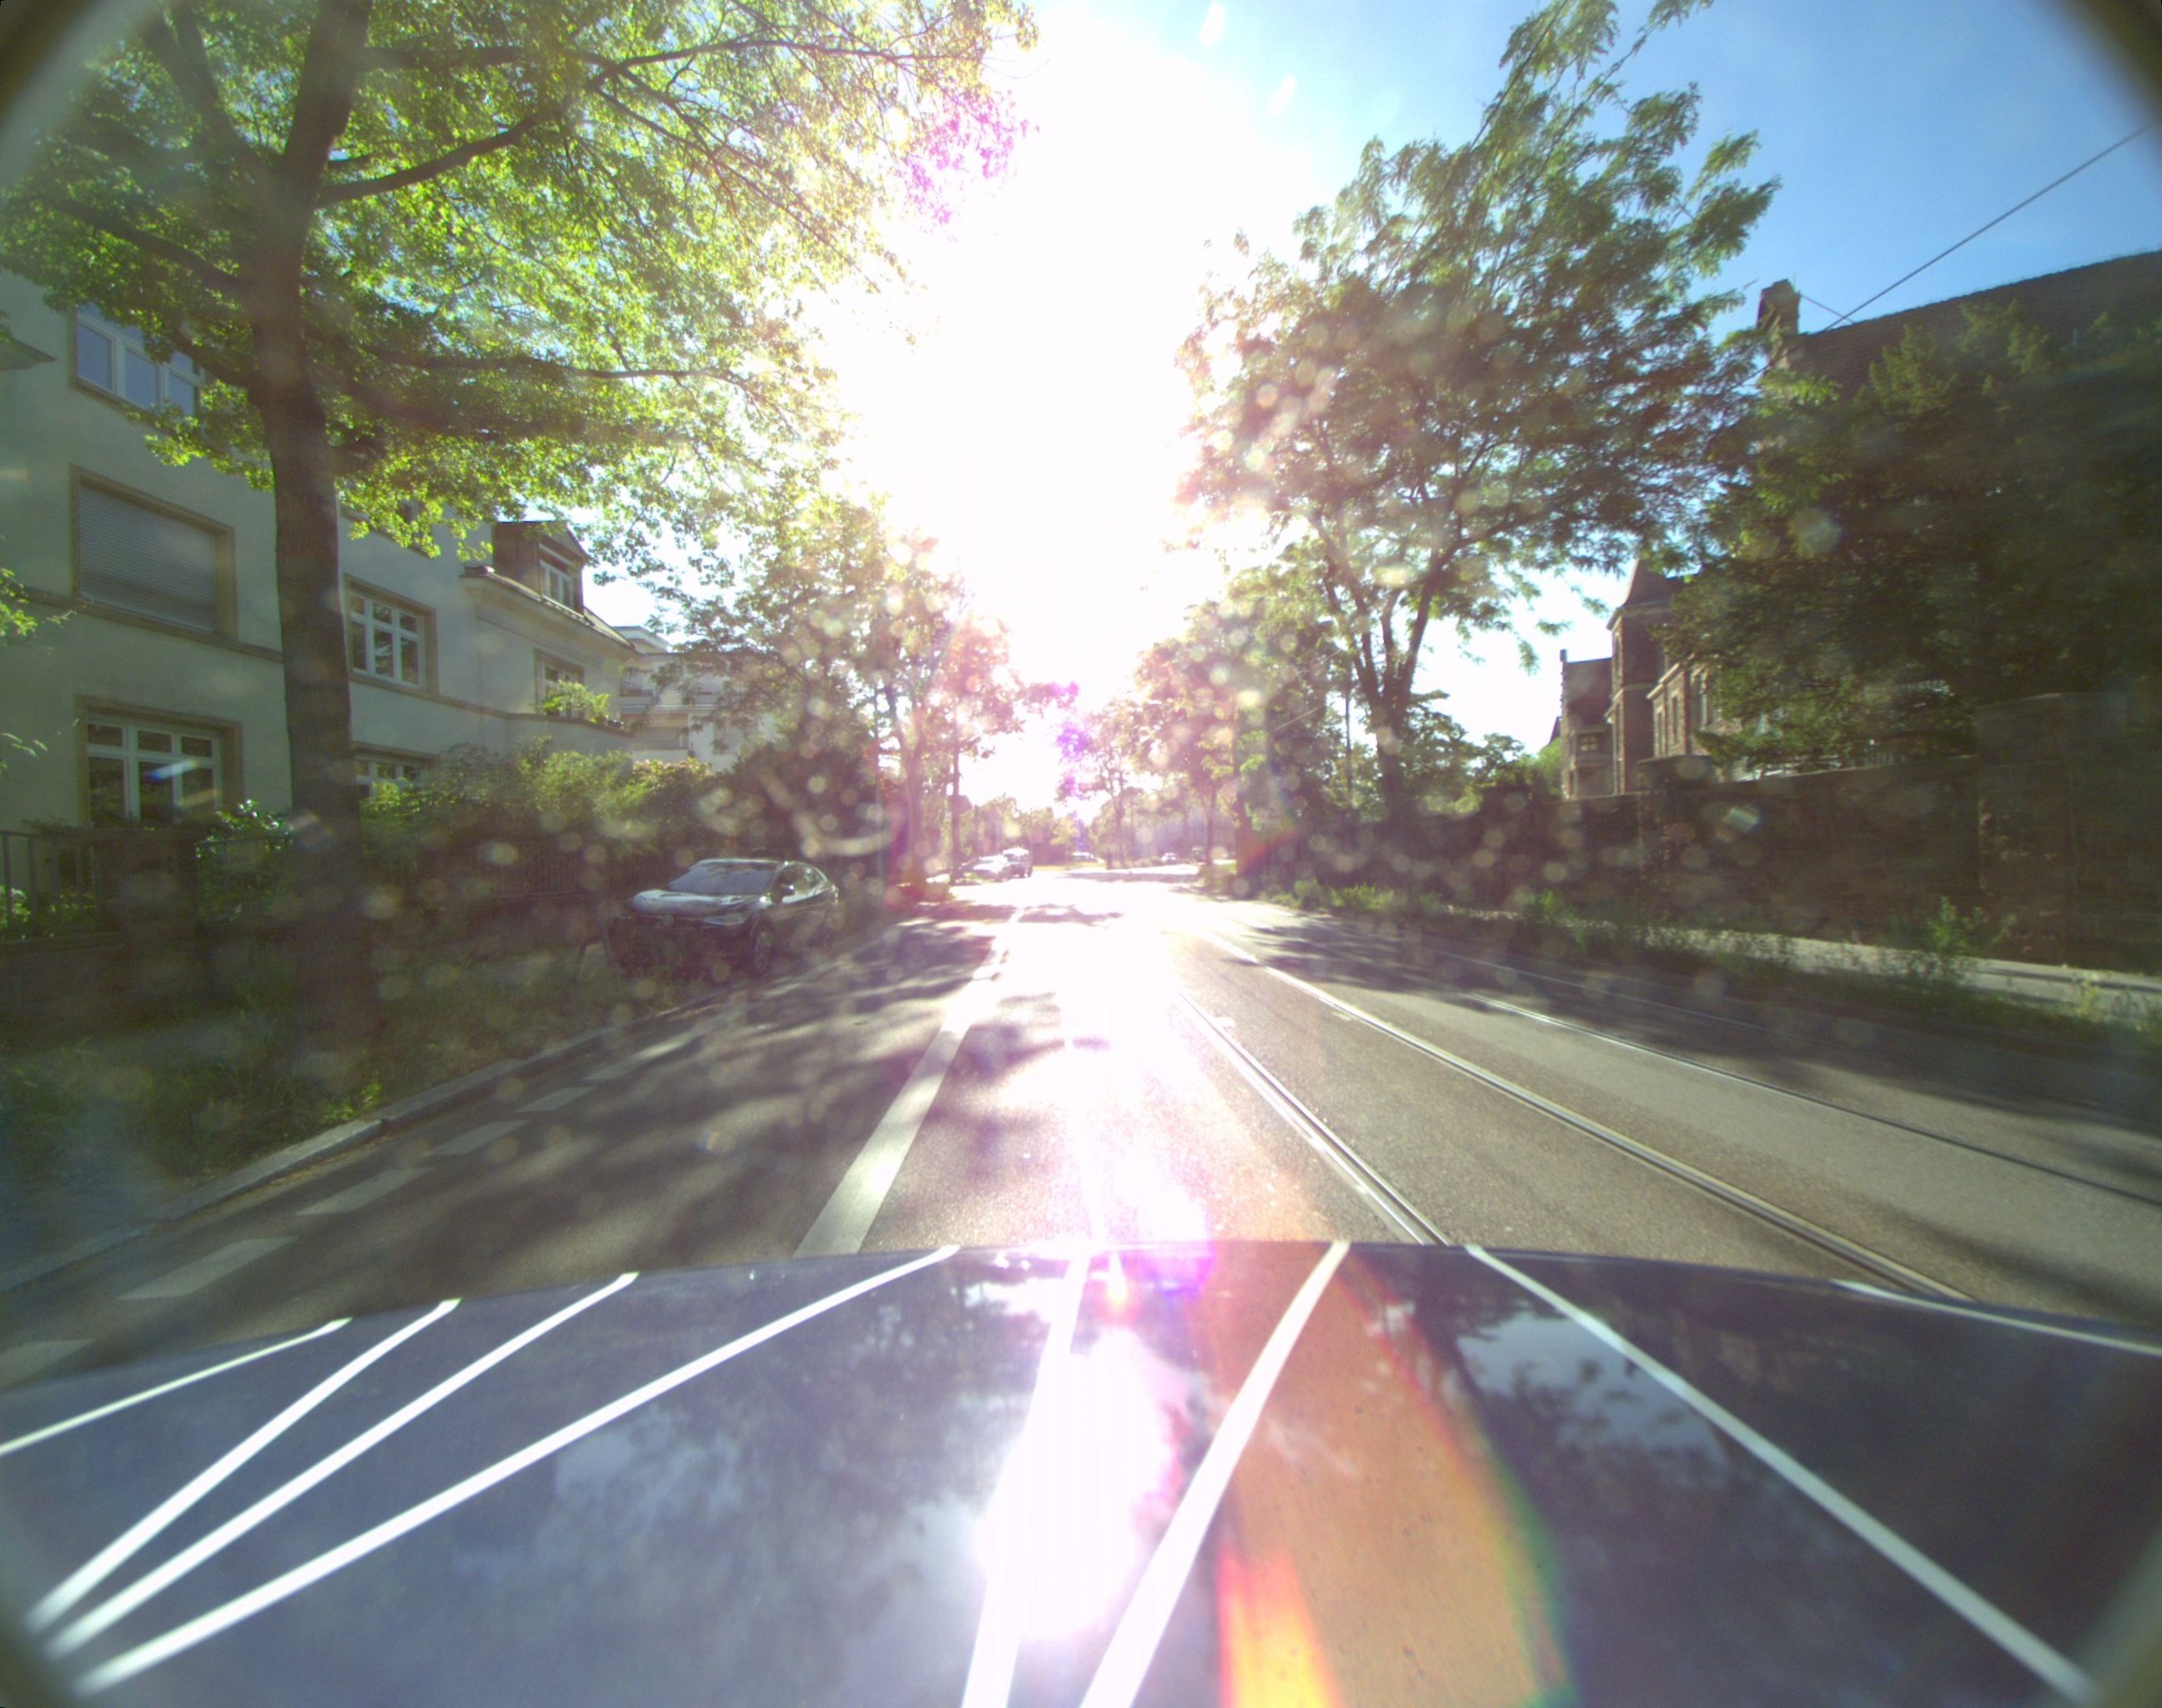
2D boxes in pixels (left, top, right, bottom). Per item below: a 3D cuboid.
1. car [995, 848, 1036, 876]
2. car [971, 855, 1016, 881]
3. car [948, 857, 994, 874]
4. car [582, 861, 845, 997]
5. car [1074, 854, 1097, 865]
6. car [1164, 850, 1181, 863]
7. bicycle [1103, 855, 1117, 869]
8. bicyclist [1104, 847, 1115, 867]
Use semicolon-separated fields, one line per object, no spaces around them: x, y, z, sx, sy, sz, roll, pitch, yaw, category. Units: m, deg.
-4.411;0.510;51.696;1.900;1.775;4.670;-1;0;6;car
-5.172;0.798;45.340;1.901;1.402;4.260;-1;0;4;car
-10.053;1.051;69.544;3.998;1.433;1.813;-2;0;-3;car
-5.201;0.949;11.514;1.919;1.590;4.258;2;0;-1;car
0.733;0.929;128.796;3.908;1.683;1.905;-1;0;-1;car
11.899;0.326;98.730;1.997;1.539;4.002;-2;0;8;car
2.402;0.658;62.110;0.588;1.105;1.857;-1;0;19;bicycle
2.352;0.241;62.036;0.643;1.632;0.666;-2;1;19;bicyclist
